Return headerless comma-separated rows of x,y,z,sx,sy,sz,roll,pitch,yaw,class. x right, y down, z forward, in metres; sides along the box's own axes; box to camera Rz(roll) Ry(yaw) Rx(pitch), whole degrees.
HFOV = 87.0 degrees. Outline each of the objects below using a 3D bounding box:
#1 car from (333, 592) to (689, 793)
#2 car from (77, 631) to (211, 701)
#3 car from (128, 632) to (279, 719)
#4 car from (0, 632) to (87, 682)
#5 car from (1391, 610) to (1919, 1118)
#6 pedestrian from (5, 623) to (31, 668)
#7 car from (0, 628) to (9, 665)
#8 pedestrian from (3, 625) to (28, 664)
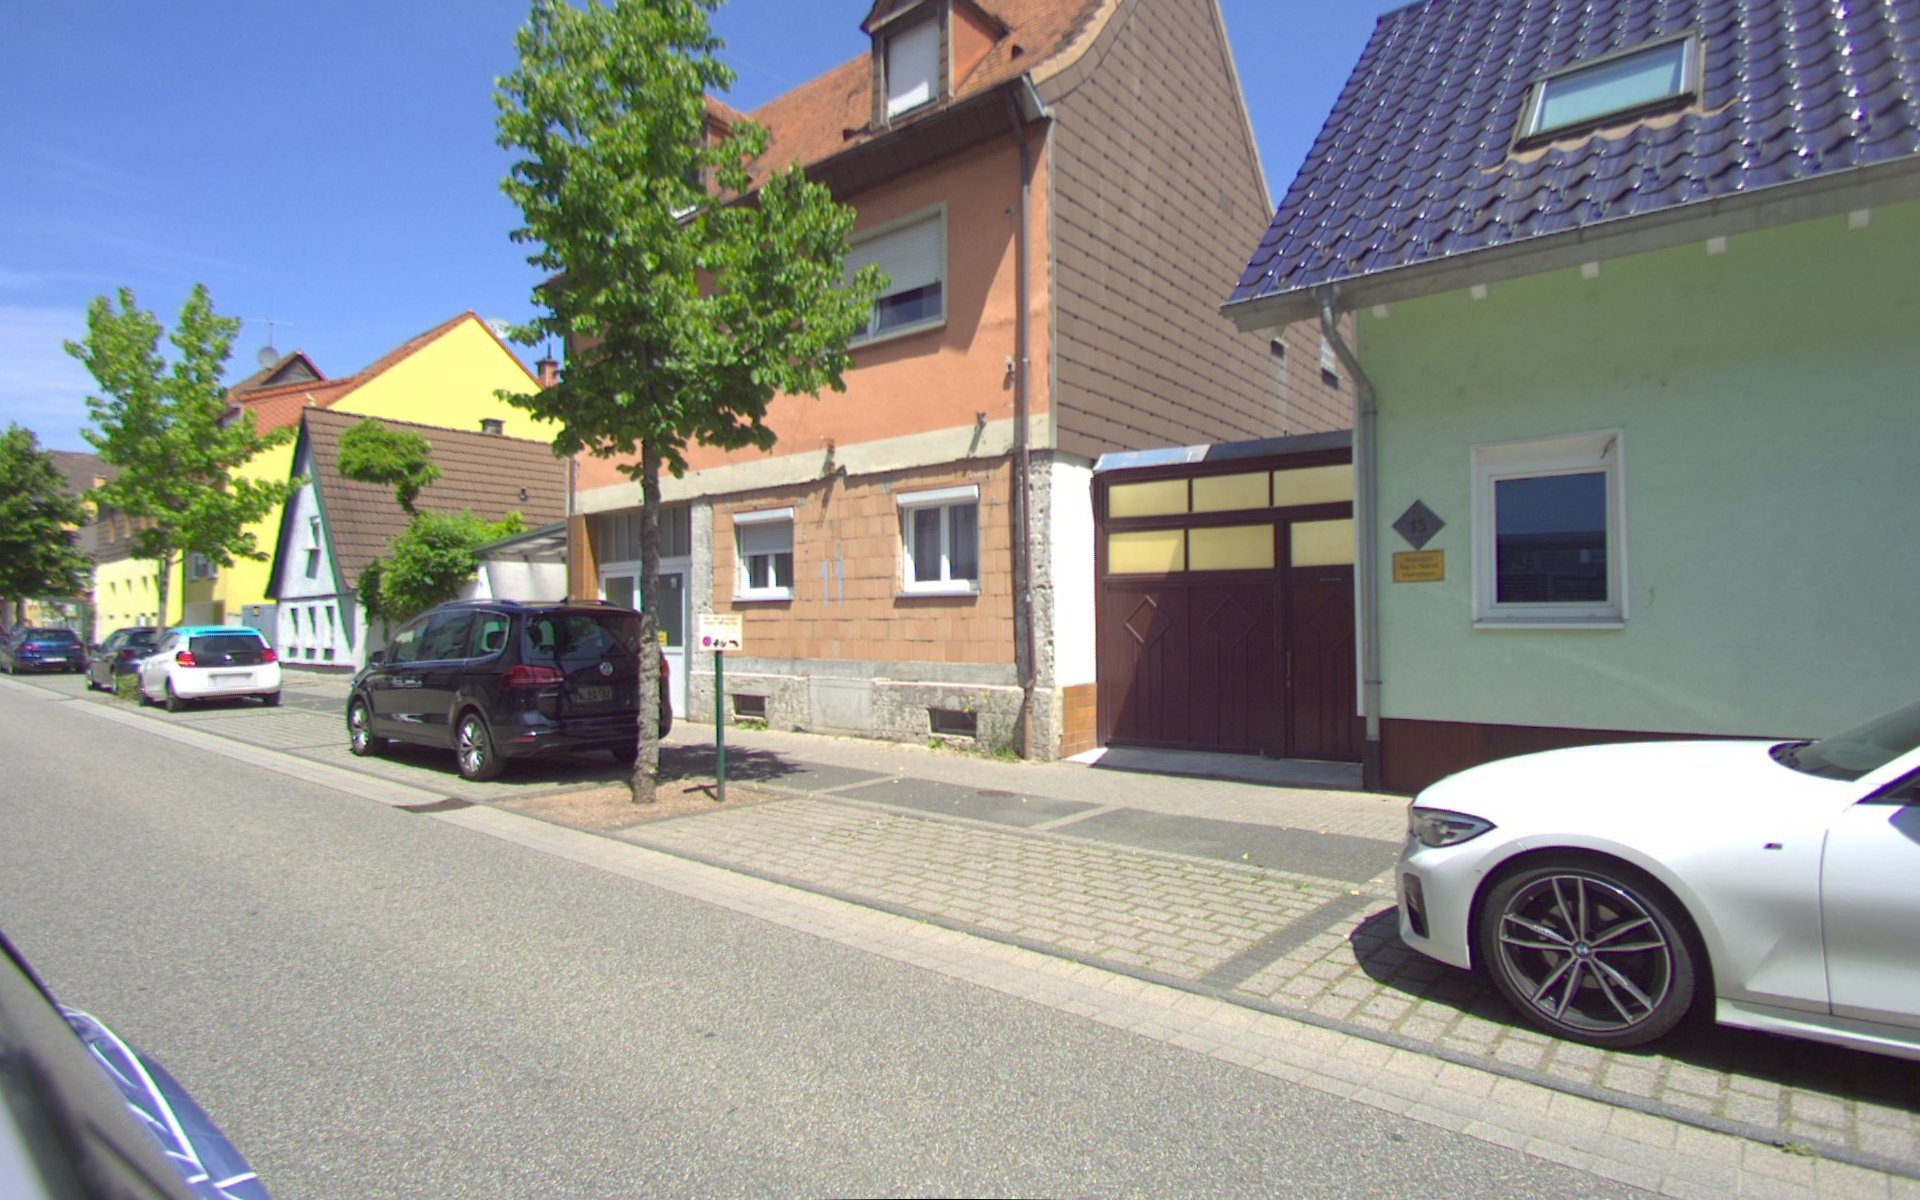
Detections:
-4.981,0.863,10.920,4.517,1.739,1.757,-2,-2,41,car
-18.461,1.435,22.842,4.096,1.441,1.628,-2,-3,41,car
-13.924,1.312,18.575,3.408,1.441,1.537,-2,-3,41,car
-28.248,1.712,31.059,4.156,1.418,1.639,-2,-2,41,car
3.881,0.746,3.032,4.456,1.448,1.702,-2,-2,41,car
-34.183,1.632,36.722,0.528,1.614,0.623,-2,-2,41,pedestrian
-42.753,2.018,43.963,4.156,1.587,1.730,-2,-2,41,car
-39.688,1.874,42.524,0.770,1.614,0.655,-2,-2,41,pedestrian
